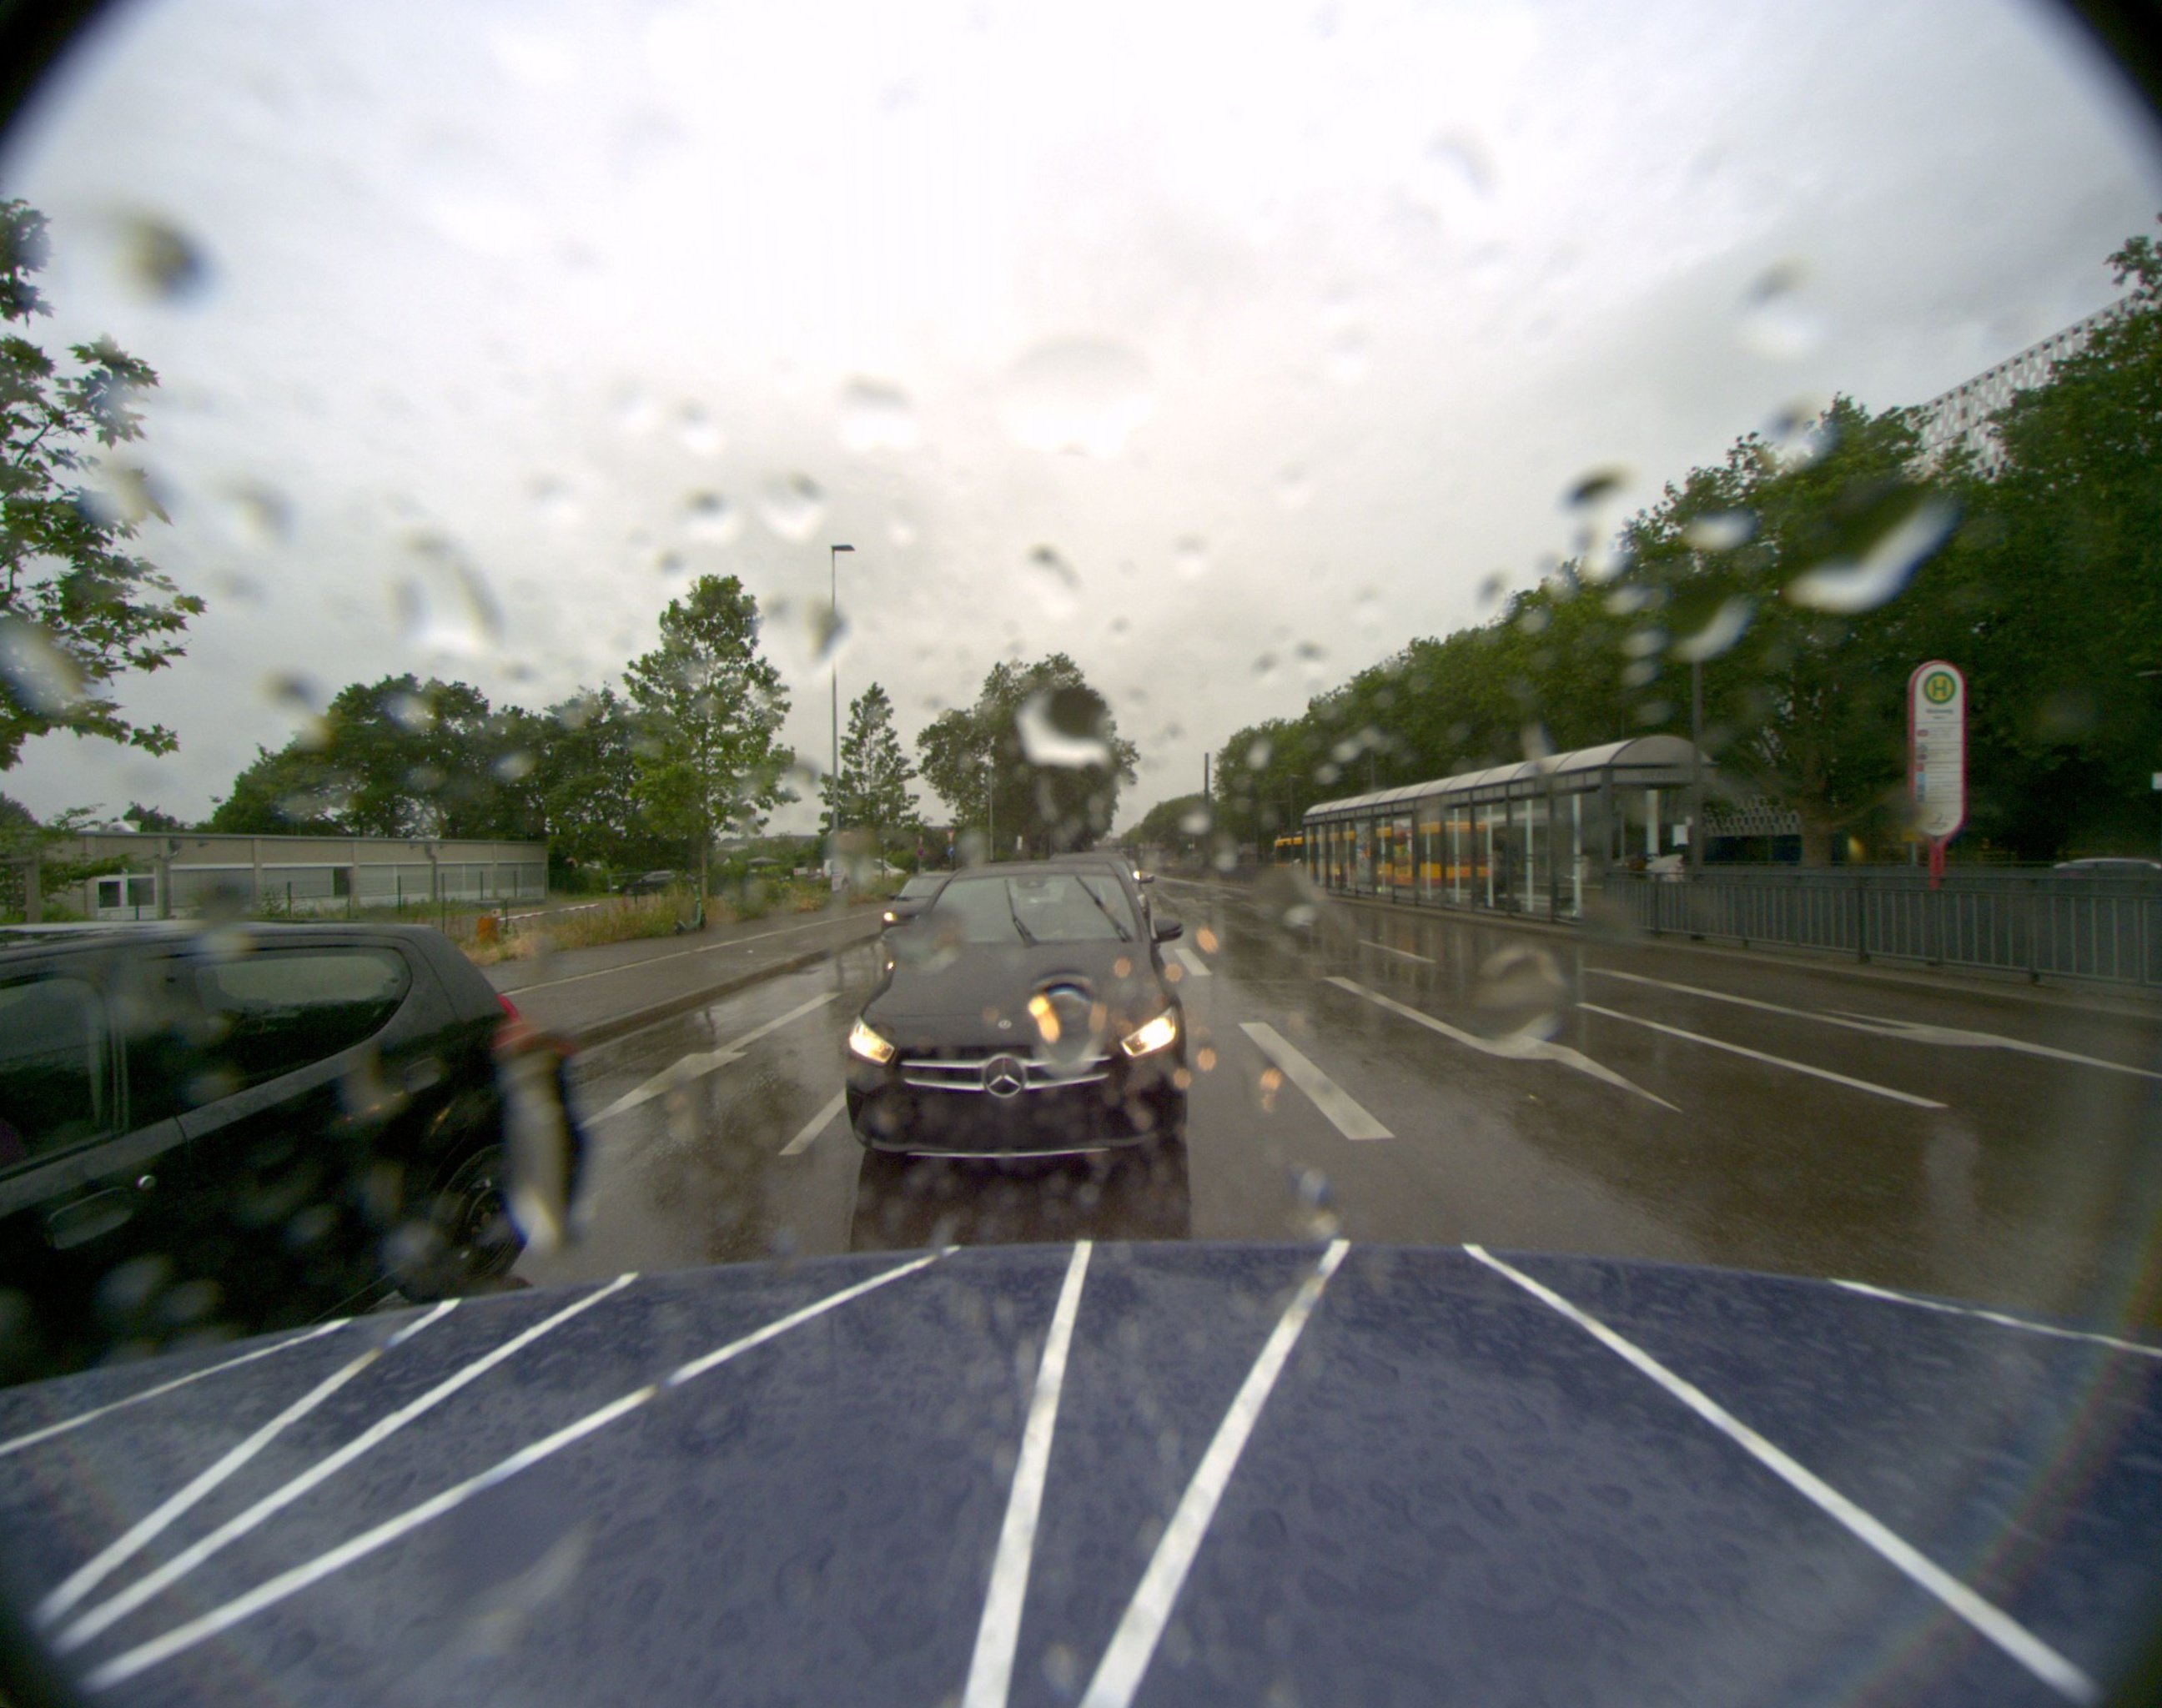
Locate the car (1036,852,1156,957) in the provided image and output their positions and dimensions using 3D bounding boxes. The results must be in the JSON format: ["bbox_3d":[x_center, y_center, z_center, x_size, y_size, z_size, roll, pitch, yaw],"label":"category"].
[{"bbox_3d":[0.200,0.716,12.475,1.633,1.420,3.624,-2,0,0],"label":"car"}]

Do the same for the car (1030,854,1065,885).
[{"bbox_3d":[-1.890,0.850,43.869,1.698,1.565,3.813,-2,1,1],"label":"car"}]

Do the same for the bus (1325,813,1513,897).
[{"bbox_3d":[16.157,-0.033,38.434,2.938,3.310,15.061,-2,1,1],"label":"bus"}]

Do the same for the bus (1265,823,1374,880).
[{"bbox_3d":[16.276,-0.233,53.562,2.938,3.310,15.061,-2,1,0],"label":"bus"}]

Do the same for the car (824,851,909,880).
[{"bbox_3d":[-13.549,0.705,48.104,4.759,1.640,1.999,-2,1,-2],"label":"car"}]

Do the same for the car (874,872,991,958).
[{"bbox_3d":[-2.890,1.136,15.514,1.633,1.420,3.624,-2,0,0],"label":"car"}]

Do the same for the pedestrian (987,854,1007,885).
[{"bbox_3d":[-4.729,0.854,42.987,1.025,1.698,0.891,1,1,0],"label":"pedestrian"}]

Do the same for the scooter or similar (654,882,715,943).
[{"bbox_3d":[-8.214,1.178,15.816,0.381,1.123,1.777,0,1,-1],"label":"scooter or similar"}]

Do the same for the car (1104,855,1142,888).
[{"bbox_3d":[2.292,0.939,42.069,1.794,1.597,3.999,-2,1,0],"label":"car"}]

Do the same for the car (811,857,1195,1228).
[{"bbox_3d":[-0.327,0.876,5.552,1.690,1.578,4.163,-2,1,1],"label":"car"}]

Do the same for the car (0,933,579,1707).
[{"bbox_3d":[-2.985,1.073,1.428,1.633,1.420,3.624,-2,0,0],"label":"car"}]

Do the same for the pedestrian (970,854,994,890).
[{"bbox_3d":[-4.879,0.865,37.586,1.082,1.746,0.969,0,1,0],"label":"pedestrian"}]

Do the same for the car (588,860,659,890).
[{"bbox_3d":[-33.970,1.519,56.525,3.996,2.002,2.000,-2,1,2],"label":"car"}]

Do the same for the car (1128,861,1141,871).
[{"bbox_3d":[8.150,1.860,116.326,1.766,1.390,4.645,-2,0,2],"label":"car"}]

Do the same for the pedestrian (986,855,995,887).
[{"bbox_3d":[-4.795,0.903,40.220,0.401,1.652,0.441,1,1,0],"label":"pedestrian"}]
